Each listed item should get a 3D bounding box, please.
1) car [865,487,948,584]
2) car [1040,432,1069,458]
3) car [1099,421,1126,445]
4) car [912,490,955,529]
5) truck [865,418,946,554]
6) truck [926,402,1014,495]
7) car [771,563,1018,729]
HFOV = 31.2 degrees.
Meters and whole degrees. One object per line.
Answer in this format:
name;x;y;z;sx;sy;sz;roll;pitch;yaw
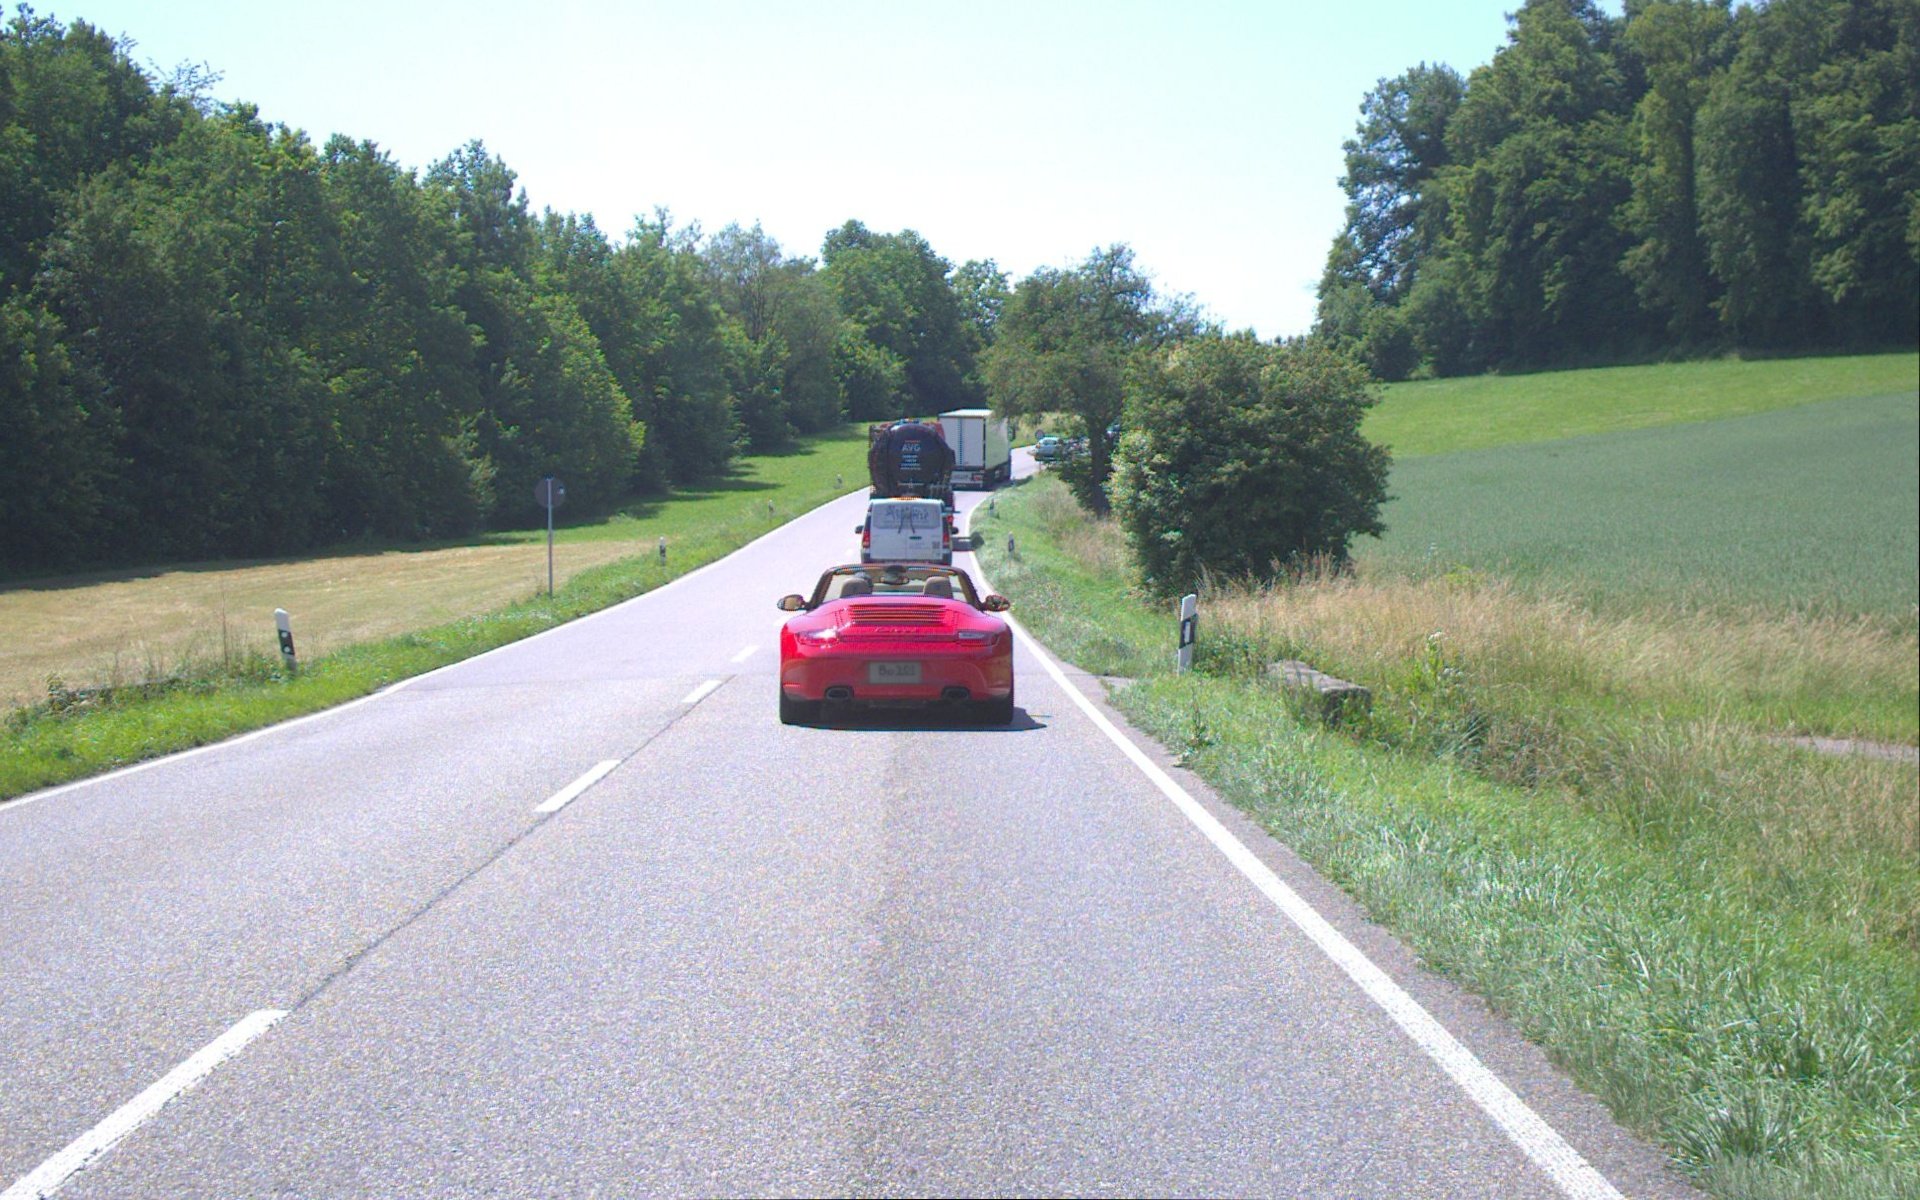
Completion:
car;-1.118;-1.380;72.322;1.678;1.894;4.010;0;3;-1
car;6.219;-10.188;225.616;1.697;1.491;3.712;-3;4;0
car;11.161;-12.198;251.231;1.698;1.491;3.712;-3;5;6
car;-1.172;-3.973;151.178;1.831;1.508;4.192;-2;3;-1
truck;-1.786;-3.651;109.033;2.404;4.035;12.552;-1;2;-1
truck;0.624;-8.398;188.910;3.726;4.643;12.031;0;5;5
car;-0.527;0.328;28.248;1.882;1.251;4.010;0;1;-1
